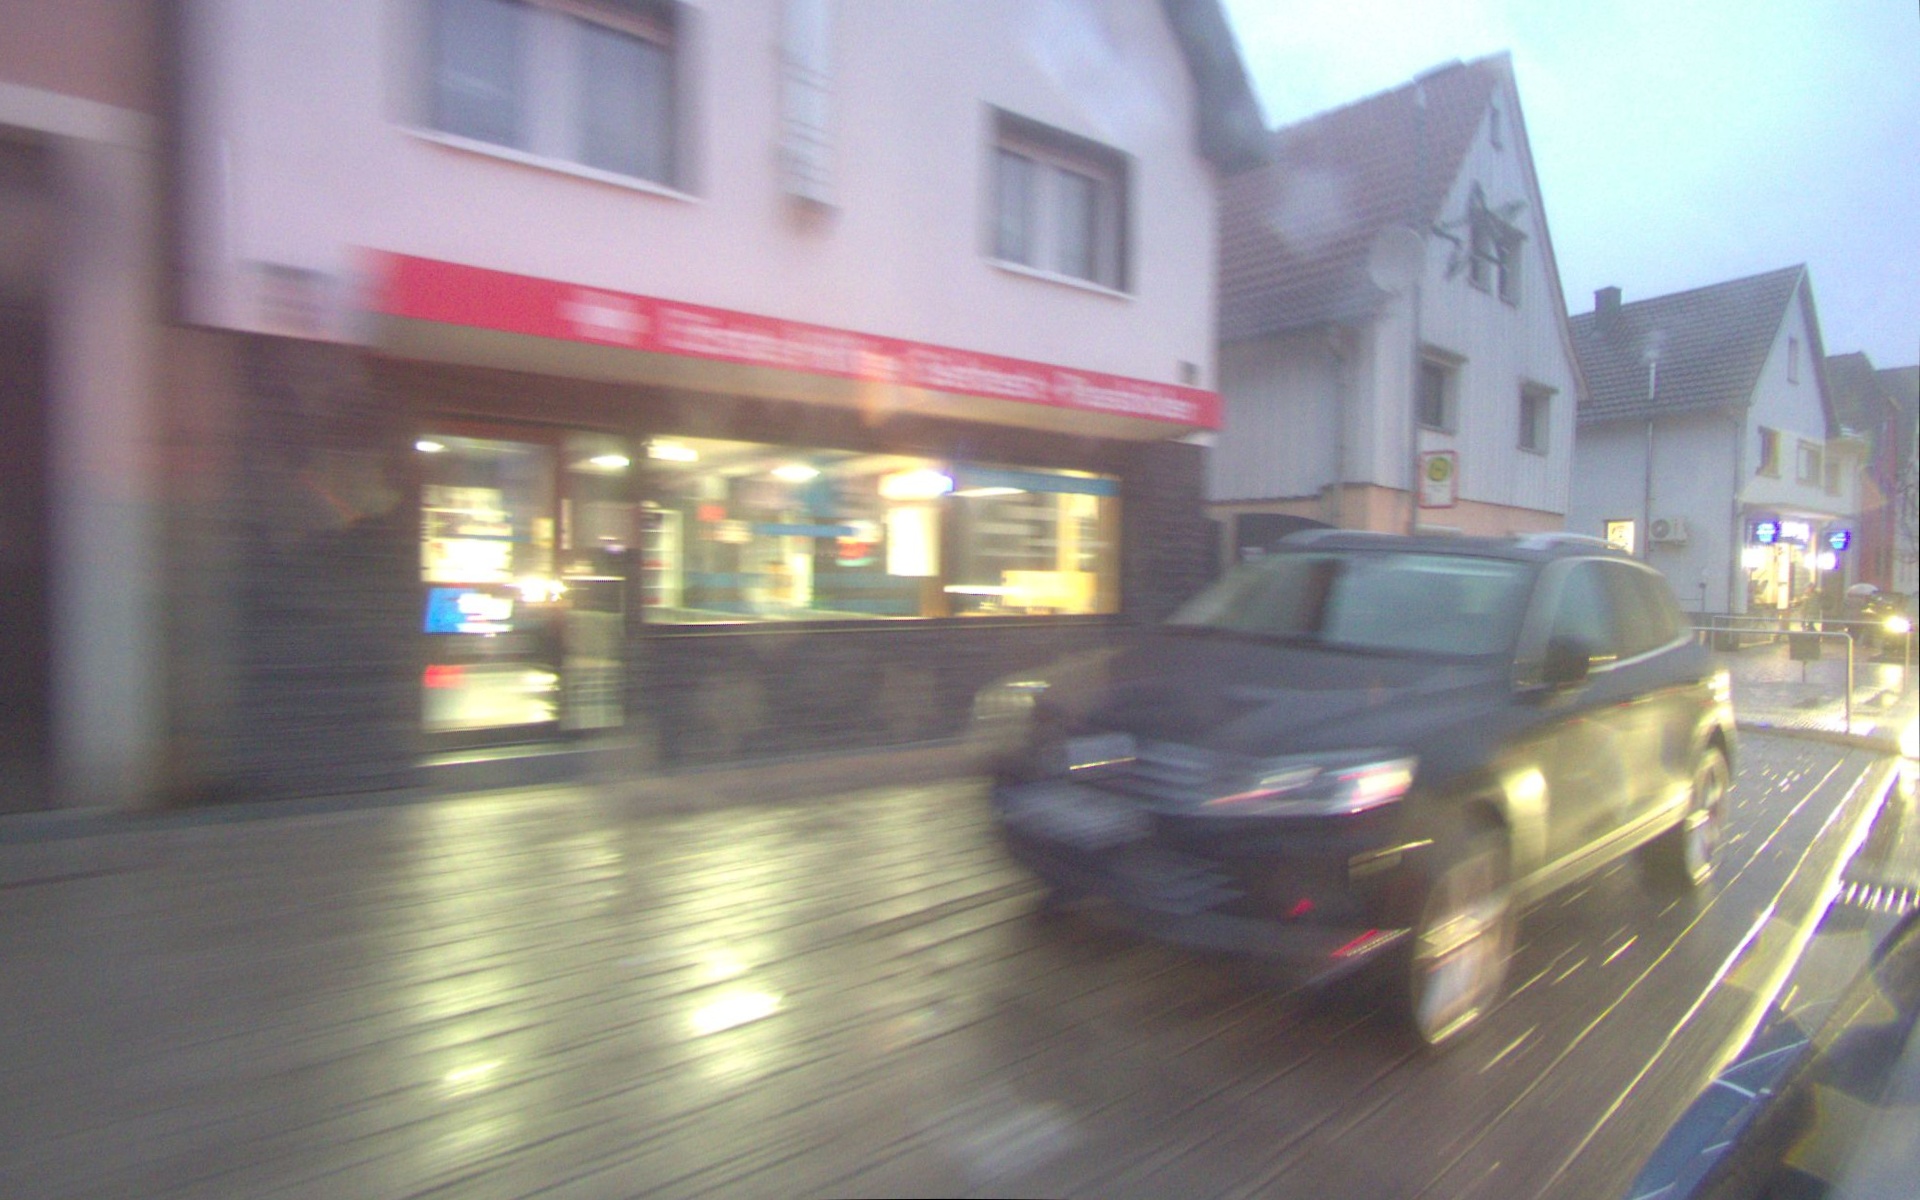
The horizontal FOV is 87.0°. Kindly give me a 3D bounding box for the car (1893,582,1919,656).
[{"bbox_3d":[25.530,0.493,25.867,4.441,1.806,1.997,0,2,-42],"label":"car"}]

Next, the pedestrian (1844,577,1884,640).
[{"bbox_3d":[26.787,0.246,30.000,0.498,1.819,0.652,2,2,-29],"label":"pedestrian"}]

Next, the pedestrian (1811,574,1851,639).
[{"bbox_3d":[24.199,0.180,28.114,0.638,1.742,0.610,2,2,-35],"label":"pedestrian"}]

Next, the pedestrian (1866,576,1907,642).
[{"bbox_3d":[25.234,0.244,27.563,0.459,1.742,0.651,2,2,-35],"label":"pedestrian"}]

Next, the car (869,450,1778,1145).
[{"bbox_3d":[1.958,0.445,4.629,4.381,1.681,1.978,0,2,-41],"label":"car"}]

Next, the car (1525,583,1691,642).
[{"bbox_3d":[18.144,0.313,28.485,1.627,1.403,3.567,1,2,-29],"label":"car"}]
